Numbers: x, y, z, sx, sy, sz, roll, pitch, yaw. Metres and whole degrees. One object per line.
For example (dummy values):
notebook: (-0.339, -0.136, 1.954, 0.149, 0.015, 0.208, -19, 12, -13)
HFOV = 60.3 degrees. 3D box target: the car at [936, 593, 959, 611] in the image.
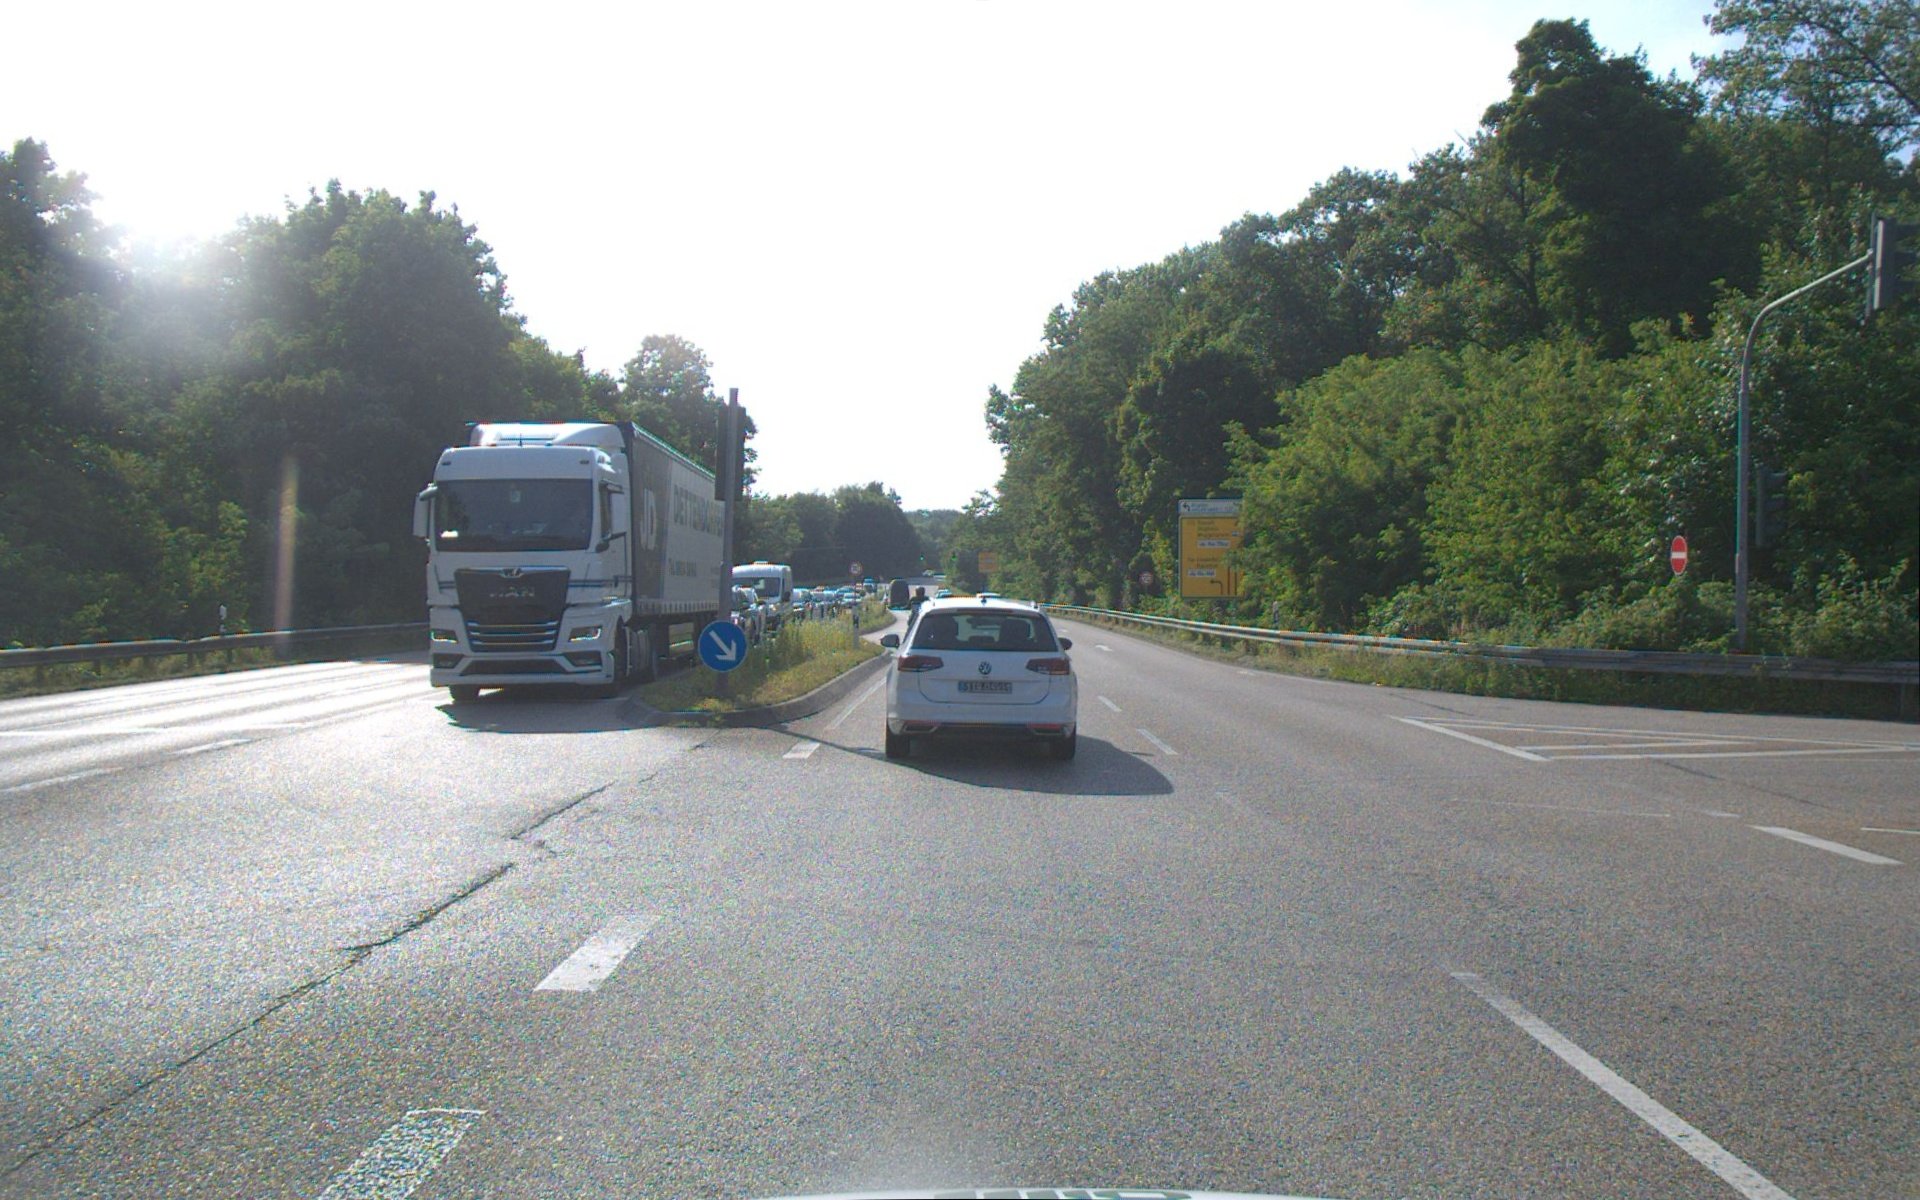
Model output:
car: (-1.166, 0.178, 152.895, 1.711, 1.564, 3.922, 2, 1, -5)

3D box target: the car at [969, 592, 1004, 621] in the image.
car: (1.357, 0.332, 85.900, 1.725, 1.404, 3.971, 1, 1, 0)

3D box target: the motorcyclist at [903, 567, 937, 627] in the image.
motorcyclist: (-1.139, -0.092, 47.233, 0.865, 1.644, 1.290, 2, 0, 1)

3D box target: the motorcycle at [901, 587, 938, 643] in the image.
motorcycle: (-1.142, 0.414, 47.219, 0.890, 1.478, 2.689, -3, 1, 1)

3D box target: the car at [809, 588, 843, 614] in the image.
car: (-7.733, 0.050, 95.495, 1.672, 1.448, 4.210, -1, 1, -1)

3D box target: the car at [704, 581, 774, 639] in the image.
car: (-6.690, 0.272, 50.434, 1.666, 1.660, 4.745, -1, 1, -3)

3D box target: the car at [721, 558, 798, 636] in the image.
car: (-6.995, -0.135, 58.264, 2.033, 2.578, 6.162, -1, 1, -1)

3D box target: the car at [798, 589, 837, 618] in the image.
car: (-7.602, 0.150, 88.498, 1.735, 1.448, 5.191, -1, 1, -1)

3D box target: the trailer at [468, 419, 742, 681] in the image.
trailer: (-6.454, -0.852, 32.782, 2.931, 4.065, 14.008, 0, 1, -2)

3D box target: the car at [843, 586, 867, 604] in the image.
car: (-8.924, -0.413, 141.205, 1.830, 1.442, 4.415, -1, 1, -1)

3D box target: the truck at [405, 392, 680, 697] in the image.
truck: (-6.157, -0.777, 25.513, 2.833, 4.067, 6.718, 0, 1, -3)

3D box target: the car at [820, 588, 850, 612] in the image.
car: (-8.093, -0.013, 107.405, 1.731, 1.442, 4.433, -1, 1, -1)

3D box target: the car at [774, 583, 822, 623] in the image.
car: (-7.135, 0.097, 73.210, 1.735, 1.698, 4.799, -1, 1, -1)

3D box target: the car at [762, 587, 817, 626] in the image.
car: (-6.805, 0.226, 66.419, 1.724, 1.482, 5.185, -1, 1, -1)

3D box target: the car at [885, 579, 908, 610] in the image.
car: (-6.193, -0.550, 162.076, 2.165, 2.939, 7.009, -1, 1, -1)

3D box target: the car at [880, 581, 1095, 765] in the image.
car: (0.154, 0.606, 16.672, 1.832, 1.548, 4.832, 1, 1, -2)

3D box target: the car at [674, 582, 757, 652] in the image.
car: (-6.242, 0.391, 42.604, 1.666, 1.660, 4.369, -1, 1, -3)
